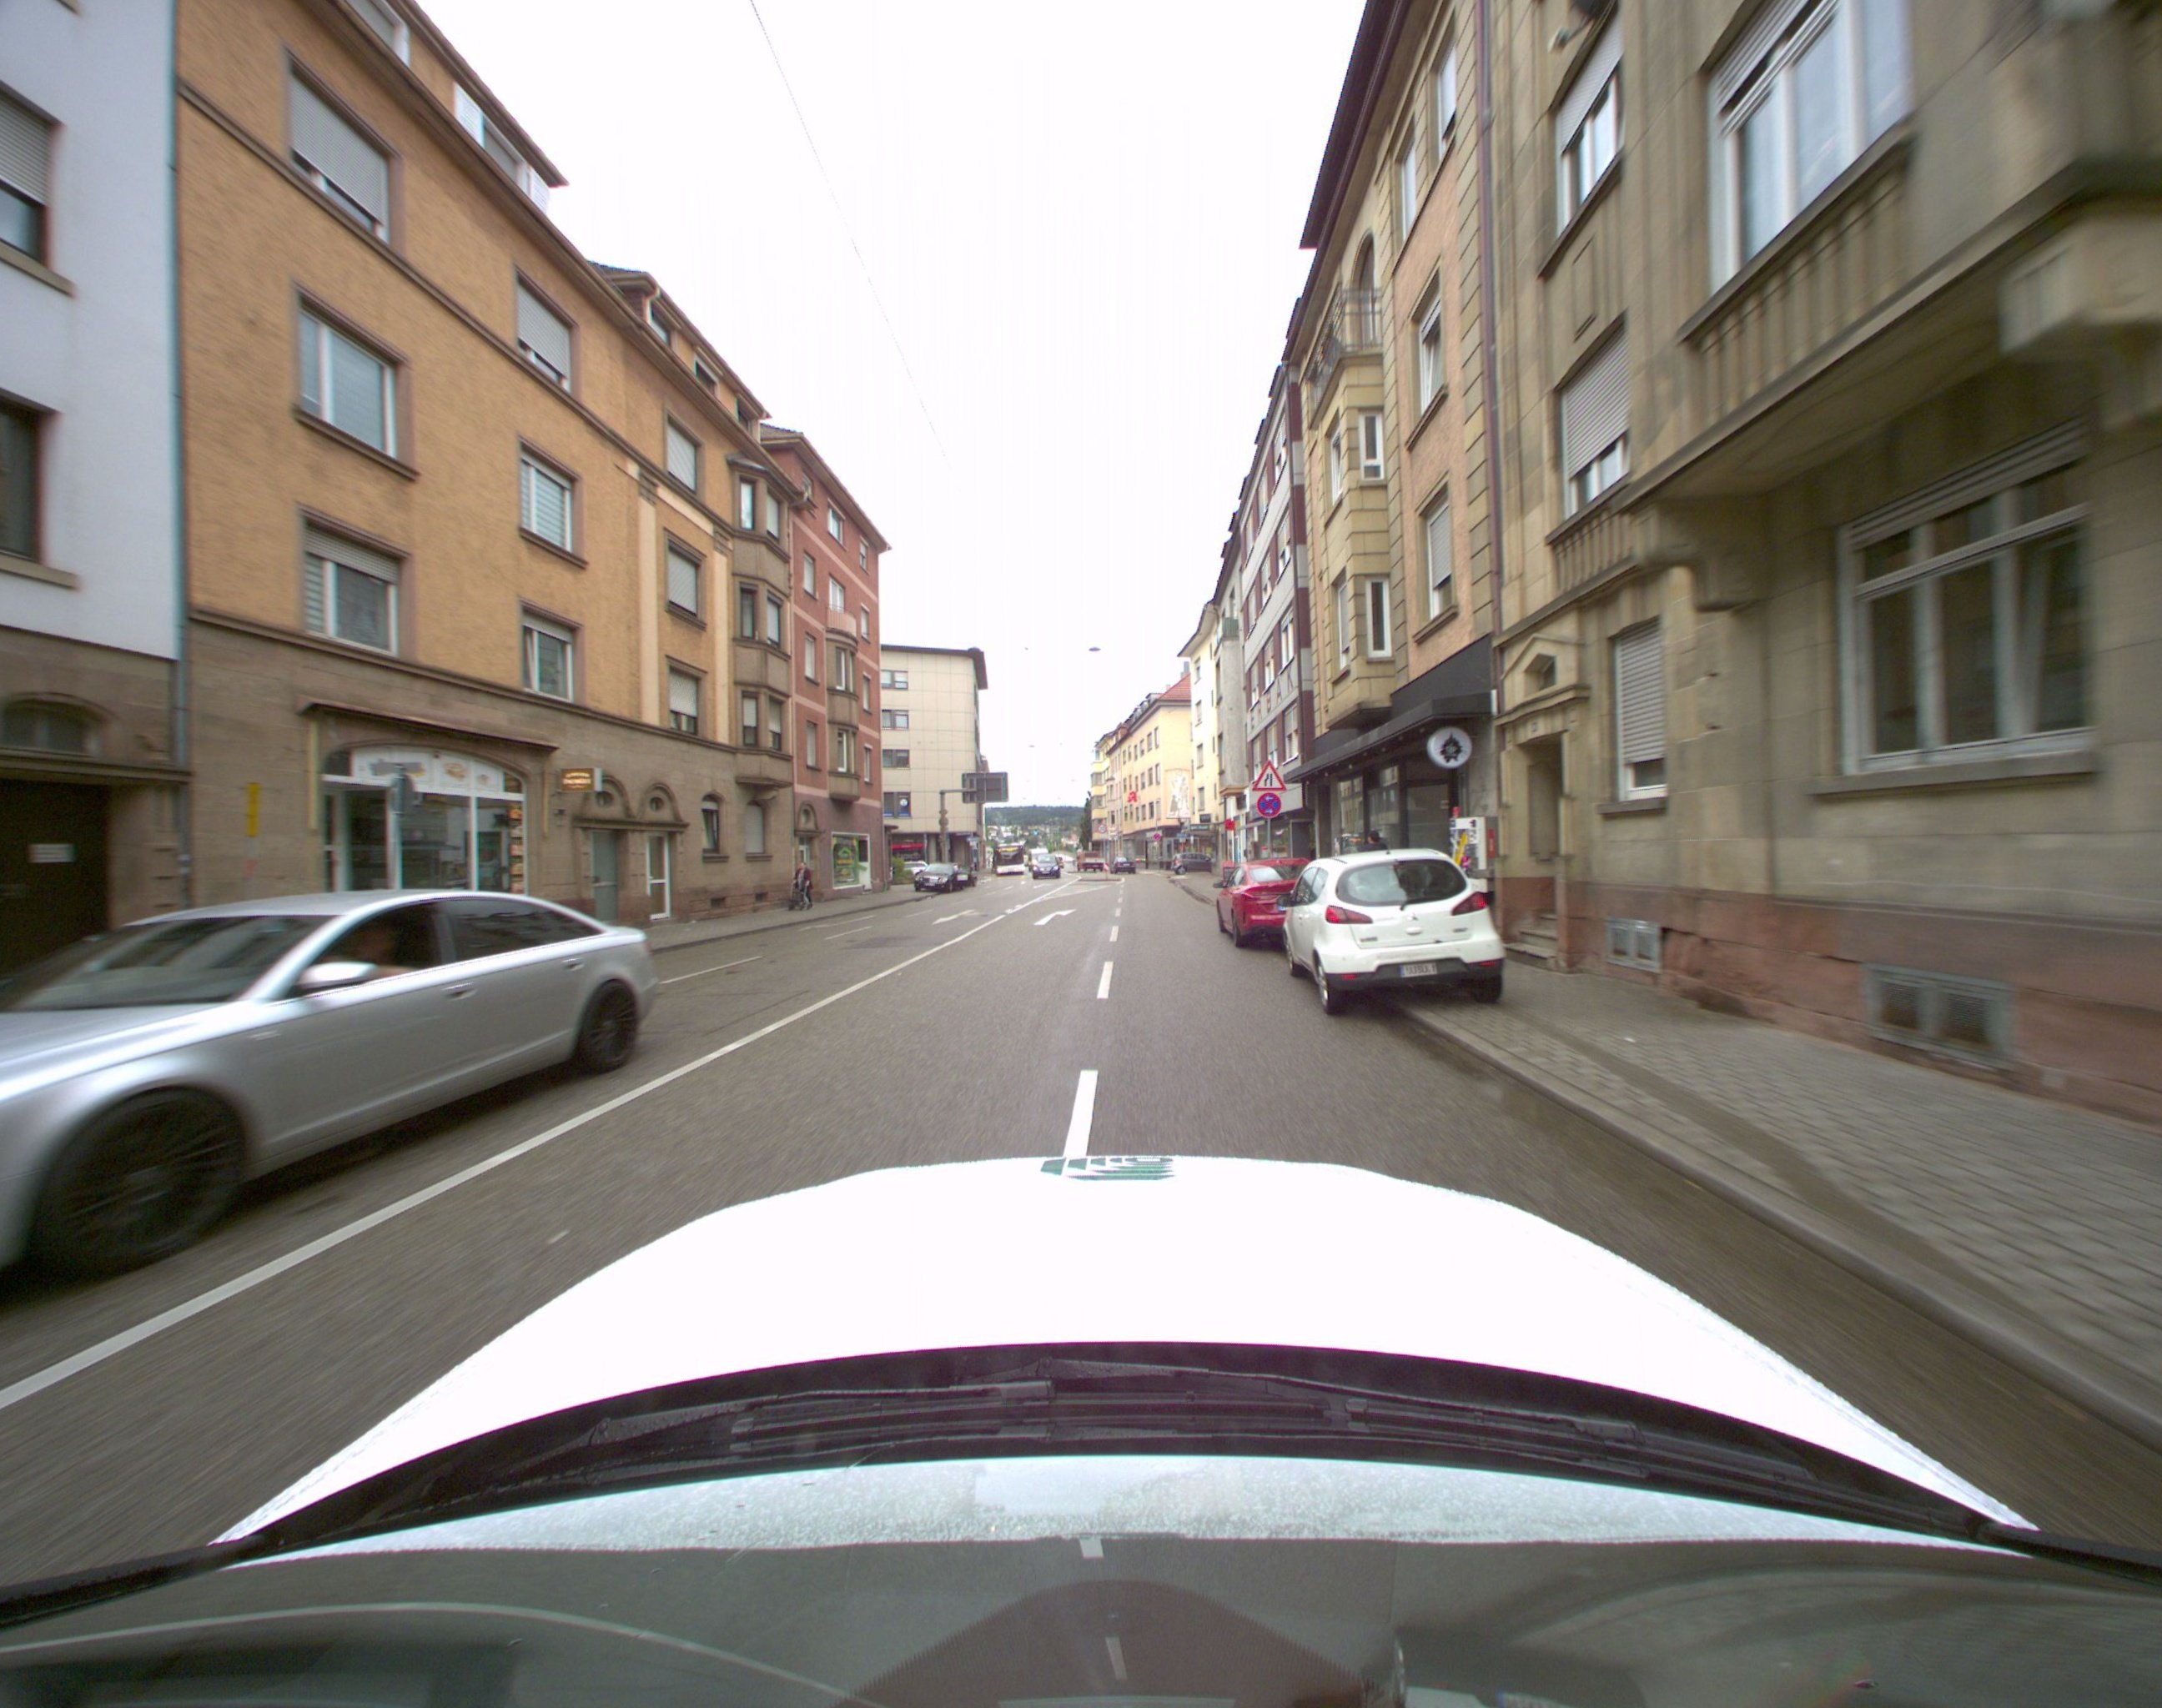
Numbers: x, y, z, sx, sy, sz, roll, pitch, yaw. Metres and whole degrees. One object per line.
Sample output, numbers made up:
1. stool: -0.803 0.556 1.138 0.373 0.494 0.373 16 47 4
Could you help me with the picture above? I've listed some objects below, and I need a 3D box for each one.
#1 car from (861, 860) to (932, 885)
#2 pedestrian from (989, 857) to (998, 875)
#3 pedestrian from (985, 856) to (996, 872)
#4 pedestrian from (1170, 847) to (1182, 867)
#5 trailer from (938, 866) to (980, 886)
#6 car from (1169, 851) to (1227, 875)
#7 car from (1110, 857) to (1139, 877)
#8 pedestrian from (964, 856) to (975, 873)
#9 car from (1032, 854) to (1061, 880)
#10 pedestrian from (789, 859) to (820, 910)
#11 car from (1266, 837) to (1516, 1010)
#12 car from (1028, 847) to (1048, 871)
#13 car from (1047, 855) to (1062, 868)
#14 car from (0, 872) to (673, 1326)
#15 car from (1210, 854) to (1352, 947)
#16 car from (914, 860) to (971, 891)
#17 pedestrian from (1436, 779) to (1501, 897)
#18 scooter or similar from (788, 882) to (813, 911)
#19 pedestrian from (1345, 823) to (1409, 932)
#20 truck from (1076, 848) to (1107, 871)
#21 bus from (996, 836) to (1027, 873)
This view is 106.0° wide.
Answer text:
1. car: -13.228 1.326 58.555 4.652 1.533 1.890 -2 -1 -26
2. pedestrian: -8.644 1.206 80.456 0.875 1.692 0.886 -2 -1 -8
3. pedestrian: -9.687 1.032 87.302 0.997 1.684 1.264 -2 -1 -4
4. pedestrian: 7.935 0.256 68.165 0.767 1.560 0.874 -2 -1 -7
5. trailer: -6.731 1.199 45.222 1.580 0.949 3.060 3 0 5
6. car: 8.481 0.683 59.353 3.816 1.574 1.934 -2 -1 -3
7. car: 3.479 1.025 65.448 1.751 1.479 3.992 -2 -1 -5
8. pedestrian: -10.656 1.021 78.047 0.943 1.589 0.833 -2 -1 -3
9. car: -2.386 0.860 55.523 1.751 1.651 4.300 -2 -1 -4
10. pedestrian: -9.273 1.030 27.321 0.842 1.679 0.850 1 -1 -10
11. car: 3.257 0.645 9.497 1.639 1.494 4.456 -2 -1 7
12. car: -4.820 0.569 91.133 2.082 2.435 6.344 -2 -1 -4
13. car: -3.596 1.003 109.909 1.751 1.651 3.992 -2 -1 -5
14. car: -4.534 0.905 4.600 1.935 1.470 4.562 -2 -1 3
15. car: 3.501 0.738 15.044 1.737 1.369 4.318 -2 0 3
16. car: -6.921 1.038 41.239 1.842 1.397 4.796 1 0 3
17. pedestrian: 6.448 -0.261 13.580 0.701 1.894 0.649 -2 -1 0
18. scooter or similar: -9.191 1.397 26.704 0.712 0.925 0.479 0 -1 -10
19. pedestrian: 5.033 0.398 13.879 0.741 1.779 0.796 -2 -1 1
20. truck: 0.995 0.541 81.107 2.396 2.129 5.304 -2 -1 -6
21. bus: -6.746 0.102 78.545 2.755 3.188 8.894 -2 -1 -5
